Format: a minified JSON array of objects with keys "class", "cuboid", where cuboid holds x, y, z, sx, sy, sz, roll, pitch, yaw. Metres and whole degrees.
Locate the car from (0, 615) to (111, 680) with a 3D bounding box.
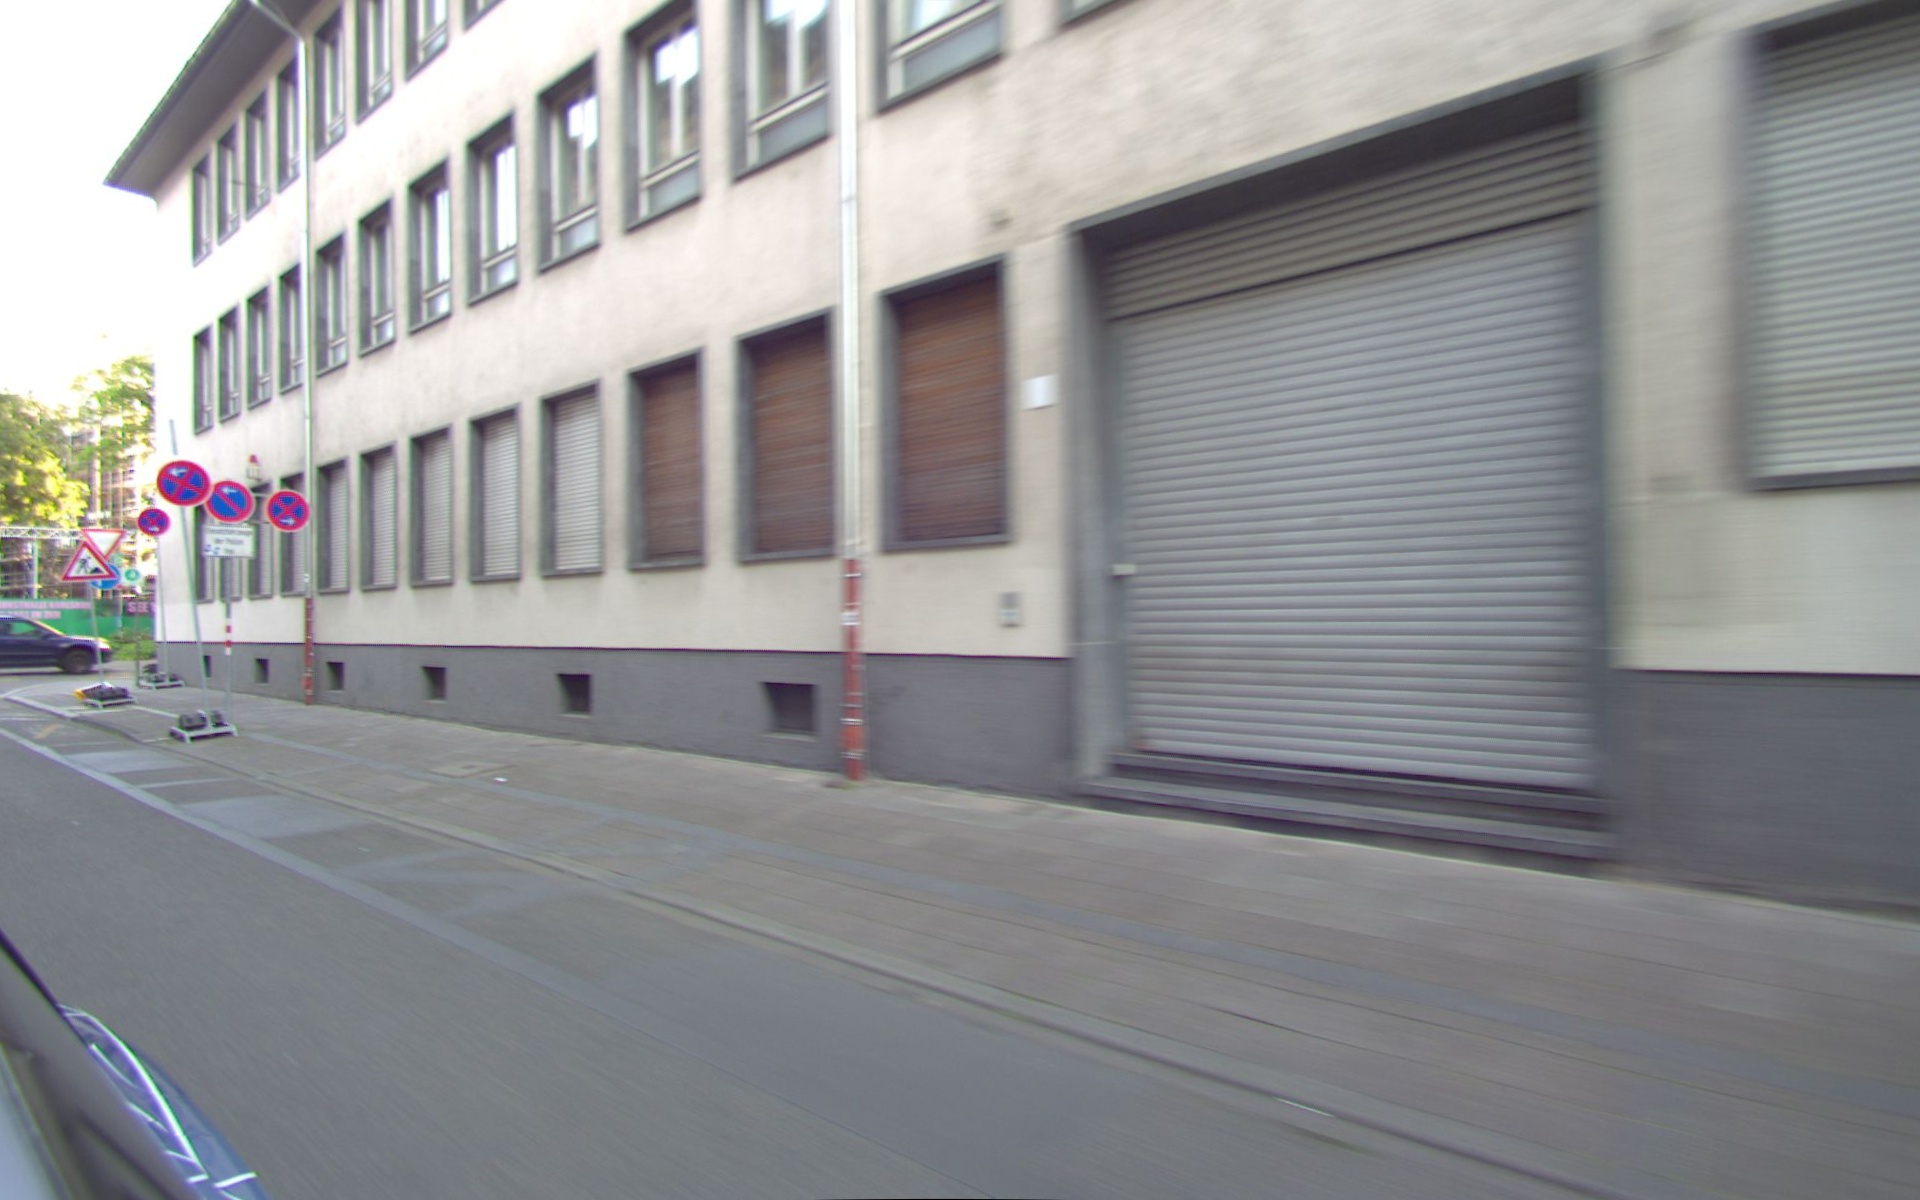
[{"class":"car","cuboid":[-25.829,1.276,27.375,1.937,1.670,4.192,-2,-1,43]}]
